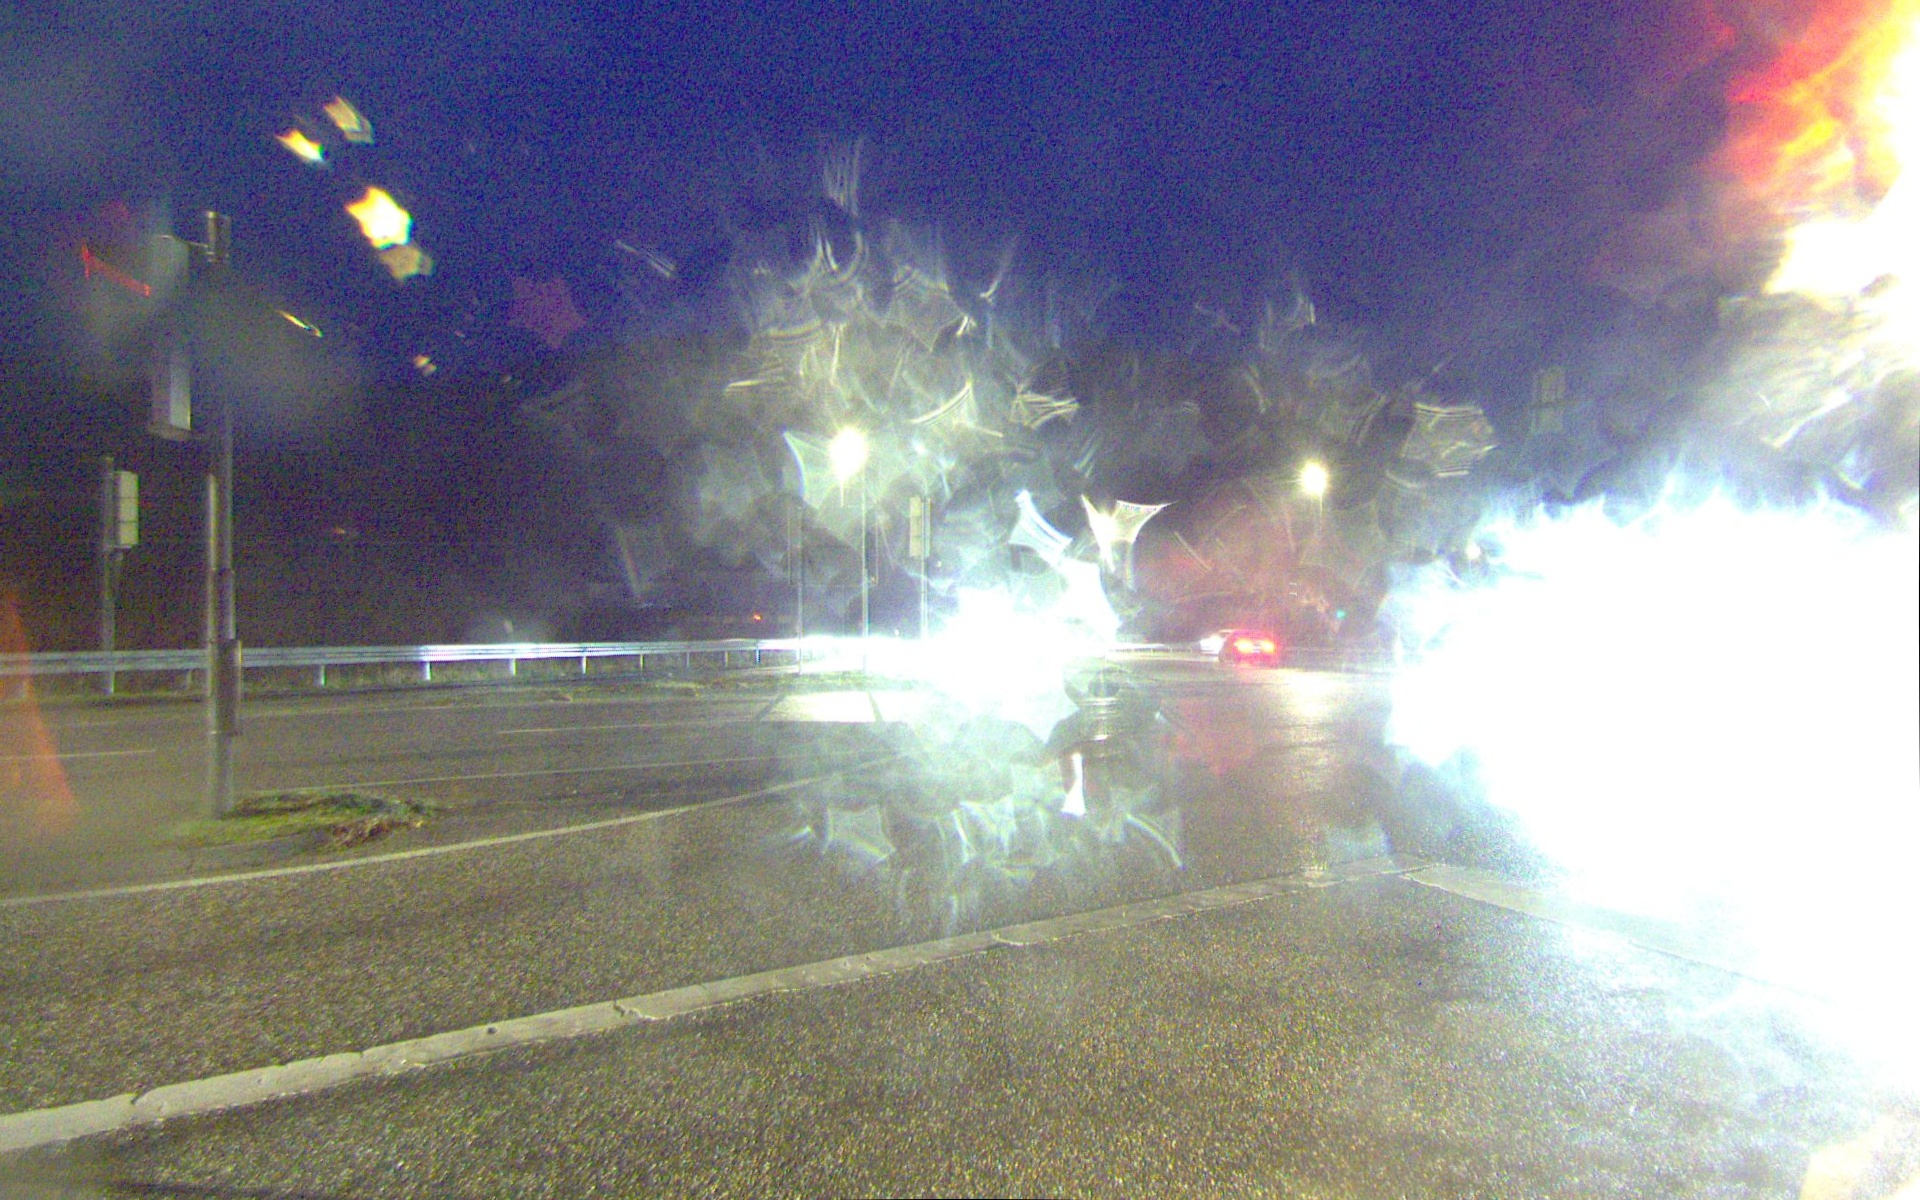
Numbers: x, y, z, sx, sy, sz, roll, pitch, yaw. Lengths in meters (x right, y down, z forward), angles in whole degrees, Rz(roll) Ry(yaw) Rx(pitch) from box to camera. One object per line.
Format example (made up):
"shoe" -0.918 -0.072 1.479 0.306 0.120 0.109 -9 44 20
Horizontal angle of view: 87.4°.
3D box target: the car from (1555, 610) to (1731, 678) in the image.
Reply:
"car" 17.350 1.090 25.460 4.855 1.592 1.784 1 -1 -30

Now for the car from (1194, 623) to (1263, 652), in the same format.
"car" 19.817 2.787 74.140 4.863 1.965 1.985 2 -1 -28

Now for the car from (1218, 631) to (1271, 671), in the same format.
"car" 14.127 2.506 50.041 1.687 1.856 4.001 0 -1 2

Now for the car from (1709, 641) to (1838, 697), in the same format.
"car" 23.529 1.990 29.050 3.683 1.473 1.660 2 -1 -29

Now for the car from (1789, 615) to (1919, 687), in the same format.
"car" 22.225 1.196 24.277 4.652 1.592 1.692 1 -1 -27

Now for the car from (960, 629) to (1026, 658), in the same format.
"car" 1.869 2.380 55.370 2.140 1.468 4.132 1 -1 26
